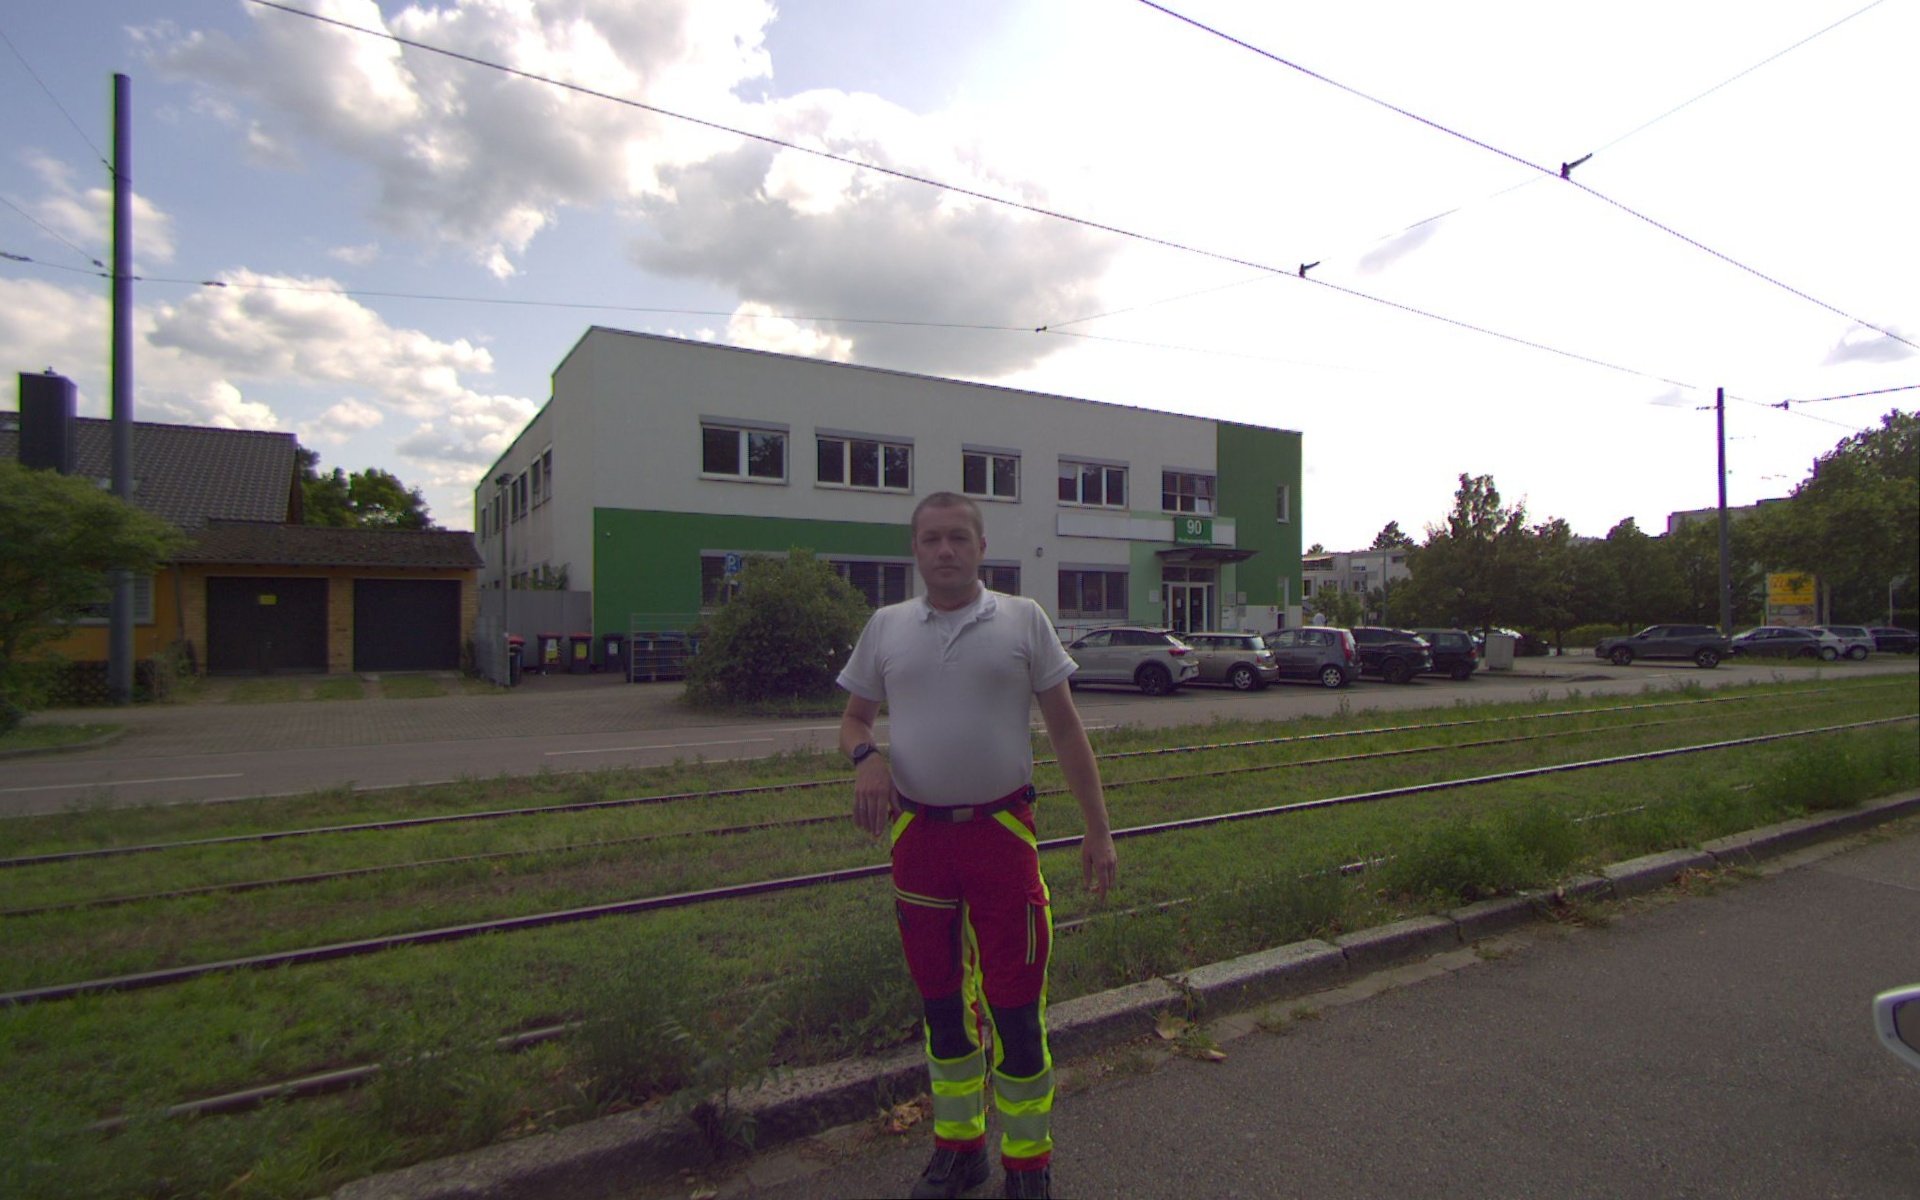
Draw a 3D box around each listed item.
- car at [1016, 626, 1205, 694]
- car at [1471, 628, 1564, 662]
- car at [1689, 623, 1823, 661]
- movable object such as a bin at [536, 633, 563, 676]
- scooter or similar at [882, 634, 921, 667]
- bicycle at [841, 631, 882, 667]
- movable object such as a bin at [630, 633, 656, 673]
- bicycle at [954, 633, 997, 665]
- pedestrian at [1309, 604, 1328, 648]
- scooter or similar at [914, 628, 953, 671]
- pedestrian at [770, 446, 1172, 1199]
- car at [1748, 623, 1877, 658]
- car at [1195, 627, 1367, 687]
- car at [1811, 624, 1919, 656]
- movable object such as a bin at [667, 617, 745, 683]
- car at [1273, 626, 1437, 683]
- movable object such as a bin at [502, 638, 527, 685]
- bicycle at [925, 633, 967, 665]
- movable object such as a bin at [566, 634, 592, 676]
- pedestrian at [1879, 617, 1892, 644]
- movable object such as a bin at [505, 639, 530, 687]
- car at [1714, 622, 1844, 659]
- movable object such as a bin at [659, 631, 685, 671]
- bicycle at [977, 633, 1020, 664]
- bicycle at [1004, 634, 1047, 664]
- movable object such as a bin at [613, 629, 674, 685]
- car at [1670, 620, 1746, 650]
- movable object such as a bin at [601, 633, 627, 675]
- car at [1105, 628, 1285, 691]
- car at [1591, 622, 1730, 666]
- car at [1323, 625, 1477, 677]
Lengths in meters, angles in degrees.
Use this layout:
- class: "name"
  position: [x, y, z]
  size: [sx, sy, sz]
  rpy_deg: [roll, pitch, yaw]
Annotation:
- class: "car"
  position: [3.633, 1.400, 24.232]
  size: [4.155, 1.501, 1.882]
  rpy_deg: [-1, -2, 25]
- class: "car"
  position: [29.188, 2.353, 52.686]
  size: [1.755, 1.586, 3.970]
  rpy_deg: [2, 0, -28]
- class: "car"
  position: [34.352, 1.773, 43.486]
  size: [4.154, 1.501, 1.882]
  rpy_deg: [1, -1, 23]
- class: "movable object such as a bin"
  position: [-10.615, 1.400, 25.958]
  size: [0.558, 1.056, 0.565]
  rpy_deg: [0, 1, -31]
- class: "scooter or similar"
  position: [-1.815, 1.542, 30.987]
  size: [0.453, 0.911, 1.726]
  rpy_deg: [2, 0, -30]
- class: "bicycle"
  position: [-2.951, 1.448, 30.010]
  size: [0.453, 0.999, 1.848]
  rpy_deg: [2, 0, -30]
- class: "movable object such as a bin"
  position: [-8.591, 1.428, 27.228]
  size: [0.558, 1.056, 0.565]
  rpy_deg: [0, 1, -31]
- class: "bicycle"
  position: [0.480, 1.559, 32.295]
  size: [0.453, 0.911, 1.848]
  rpy_deg: [2, 0, -30]
- class: "pedestrian"
  position: [15.146, 1.098, 42.433]
  size: [0.503, 1.852, 0.543]
  rpy_deg: [1, -1, -33]
- class: "scooter or similar"
  position: [-0.787, 1.436, 29.610]
  size: [1.073, 1.171, 1.306]
  rpy_deg: [2, 0, -2]
- class: "pedestrian"
  position: [0.033, 0.554, 2.432]
  size: [0.790, 1.709, 0.851]
  rpy_deg: [0, 0, 2]
- class: "car"
  position: [39.377, 1.838, 46.541]
  size: [4.154, 1.501, 1.882]
  rpy_deg: [1, -1, 23]
- class: "car"
  position: [8.697, 1.513, 27.285]
  size: [4.160, 1.501, 1.880]
  rpy_deg: [-1, -2, 30]
- class: "car"
  position: [46.172, 1.990, 50.984]
  size: [4.151, 1.501, 1.883]
  rpy_deg: [1, -1, 19]
- class: "movable object such as a bin"
  position: [-6.285, 1.206, 24.868]
  size: [1.691, 1.540, 1.001]
  rpy_deg: [0, 1, -29]
- class: "car"
  position: [11.320, 1.525, 28.839]
  size: [4.160, 1.501, 1.880]
  rpy_deg: [-1, -2, 30]
- class: "movable object such as a bin"
  position: [-10.461, 1.441, 23.595]
  size: [0.474, 1.056, 0.491]
  rpy_deg: [0, 1, -31]
- class: "bicycle"
  position: [-0.468, 1.529, 31.674]
  size: [0.453, 0.911, 1.848]
  rpy_deg: [2, 0, -30]
- class: "movable object such as a bin"
  position: [-10.007, 1.428, 26.359]
  size: [0.558, 1.056, 0.565]
  rpy_deg: [0, 1, -31]
- class: "pedestrian"
  position: [59.517, 1.943, 64.564]
  size: [0.597, 1.699, 0.463]
  rpy_deg: [1, -1, -33]
- class: "movable object such as a bin"
  position: [-10.182, 1.447, 23.113]
  size: [0.476, 1.056, 0.502]
  rpy_deg: [0, 1, -31]
- class: "car"
  position: [36.714, 1.778, 45.161]
  size: [4.154, 1.501, 1.882]
  rpy_deg: [1, -1, 23]
- class: "movable object such as a bin"
  position: [-7.929, 1.397, 27.618]
  size: [0.558, 1.056, 0.565]
  rpy_deg: [0, 1, -31]
- class: "bicycle"
  position: [1.240, 1.584, 32.757]
  size: [0.453, 0.911, 1.848]
  rpy_deg: [2, 0, -30]
- class: "bicycle"
  position: [2.151, 1.605, 33.268]
  size: [0.453, 0.911, 1.848]
  rpy_deg: [2, 0, -30]
- class: "movable object such as a bin"
  position: [-7.600, 1.339, 24.108]
  size: [1.241, 1.251, 1.001]
  rpy_deg: [0, 1, -29]
- class: "car"
  position: [48.530, 2.241, 65.250]
  size: [1.960, 1.773, 4.000]
  rpy_deg: [1, 0, 0]
- class: "movable object such as a bin"
  position: [-9.251, 1.435, 26.855]
  size: [0.558, 1.056, 0.565]
  rpy_deg: [0, 1, -31]
- class: "car"
  position: [6.027, 1.477, 25.887]
  size: [4.160, 1.501, 1.880]
  rpy_deg: [-1, -2, 30]
- class: "car"
  position: [26.169, 1.614, 37.675]
  size: [4.164, 1.501, 1.878]
  rpy_deg: [1, -1, 34]
- class: "car"
  position: [13.523, 1.538, 30.882]
  size: [4.160, 1.501, 1.880]
  rpy_deg: [-1, -2, 30]
